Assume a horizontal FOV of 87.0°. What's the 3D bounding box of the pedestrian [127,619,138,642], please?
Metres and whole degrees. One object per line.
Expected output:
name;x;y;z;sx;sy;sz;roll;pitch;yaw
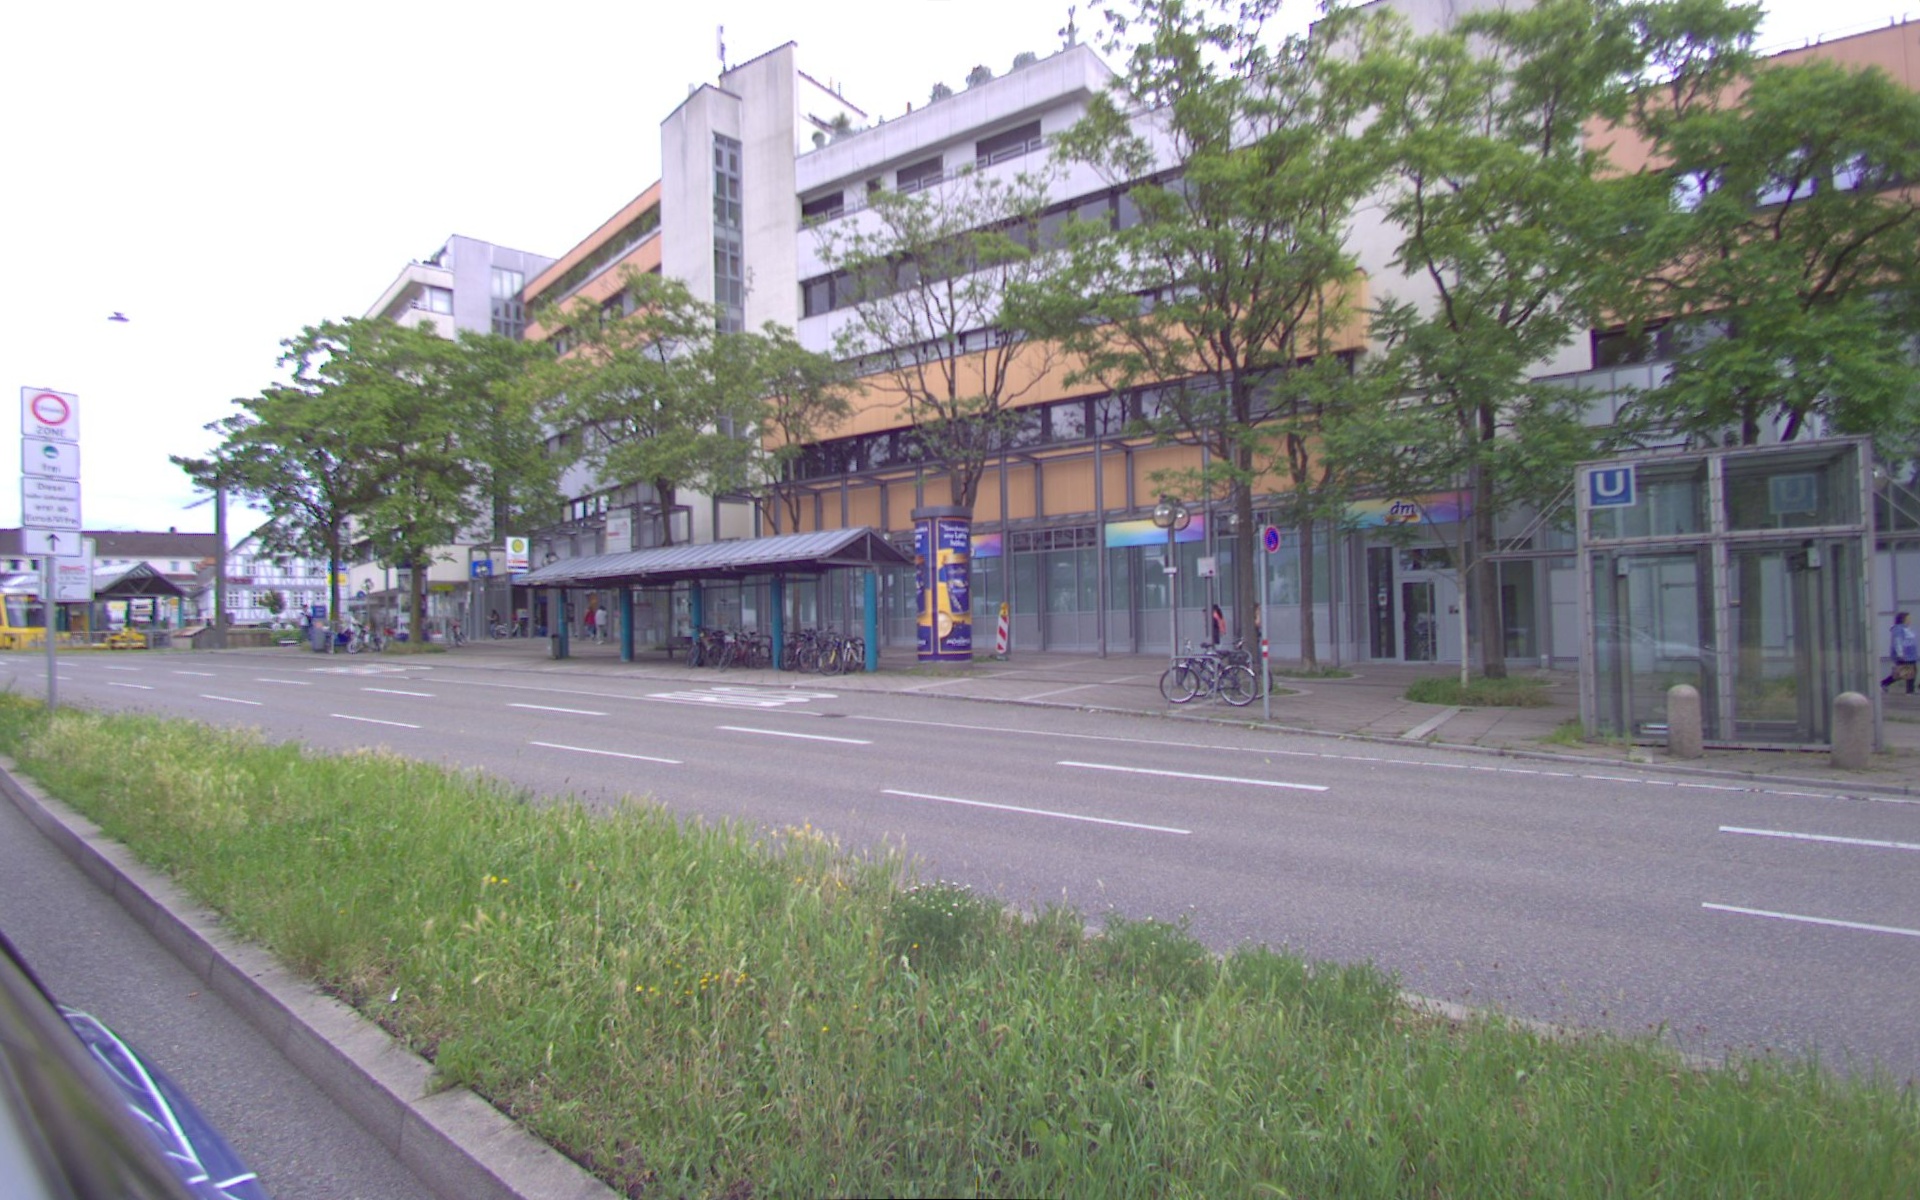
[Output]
pedestrian;-70.793;2.605;86.563;0.731;2.029;0.940;1;-2;-39

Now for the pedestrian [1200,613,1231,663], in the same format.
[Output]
pedestrian;7.163;1.057;28.374;0.694;1.385;0.578;-1;-2;34

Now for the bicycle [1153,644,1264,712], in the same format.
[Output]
bicycle;4.313;1.322;17.647;0.802;1.068;1.739;0;-1;-40

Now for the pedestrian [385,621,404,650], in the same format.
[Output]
pedestrian;-33.613;2.124;60.180;0.752;1.695;0.755;-1;-2;41

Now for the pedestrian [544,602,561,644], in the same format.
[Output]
pedestrian;-19.793;1.107;49.149;0.558;2.029;0.611;1;-2;-44

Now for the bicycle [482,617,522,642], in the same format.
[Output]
bicycle;-26.154;1.680;57.814;2.106;1.377;0.621;-1;0;-24

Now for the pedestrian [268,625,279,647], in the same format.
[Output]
pedestrian;-47.627;2.495;70.202;0.548;1.506;0.454;1;-2;-41

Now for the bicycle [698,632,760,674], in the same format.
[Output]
bicycle;-6.510;1.493;28.632;0.549;1.048;1.714;-2;1;38

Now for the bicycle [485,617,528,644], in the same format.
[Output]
bicycle;-25.005;1.672;55.836;2.107;1.385;0.621;-1;0;-31

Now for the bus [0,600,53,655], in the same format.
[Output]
bus;-56.039;1.600;58.662;8.470;3.006;2.530;-1;-2;29

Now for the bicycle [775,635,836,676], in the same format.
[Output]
bicycle;-4.193;1.499;27.609;0.549;1.048;1.714;-2;-1;38

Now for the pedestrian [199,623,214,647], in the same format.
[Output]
pedestrian;-50.154;2.310;67.364;0.581;1.554;0.570;-1;-2;32

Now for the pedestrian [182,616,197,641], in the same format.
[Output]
pedestrian;-62.429;2.278;82.017;0.867;2.029;1.011;1;-2;-44

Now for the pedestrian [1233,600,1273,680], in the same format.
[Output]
pedestrian;6.738;0.911;23.275;0.769;1.800;0.525;-1;-2;33

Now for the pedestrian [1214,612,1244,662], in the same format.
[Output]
pedestrian;7.688;1.050;28.934;0.694;1.385;0.578;-1;-2;34

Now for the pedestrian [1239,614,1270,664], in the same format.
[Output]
pedestrian;8.272;1.077;28.396;0.694;1.385;0.578;-1;-2;34

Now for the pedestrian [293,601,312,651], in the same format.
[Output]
pedestrian;-31.001;1.219;47.704;0.608;2.325;0.583;-1;-2;39

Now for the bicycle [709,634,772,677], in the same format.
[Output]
bicycle;-6.016;1.512;27.770;0.549;1.048;1.714;-2;1;38

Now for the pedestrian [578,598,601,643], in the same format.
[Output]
pedestrian;-17.137;0.940;46.814;0.794;2.029;0.701;-1;0;40

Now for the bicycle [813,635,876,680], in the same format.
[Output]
bicycle;-2.960;1.460;26.109;0.549;1.048;1.714;-2;0;38

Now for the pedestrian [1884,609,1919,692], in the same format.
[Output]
pedestrian;17.648;0.927;18.771;0.620;1.515;0.563;-1;-2;31

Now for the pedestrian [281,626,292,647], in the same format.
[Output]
pedestrian;-47.052;2.550;70.696;0.548;1.506;0.454;1;-2;-41

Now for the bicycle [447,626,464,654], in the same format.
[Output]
bicycle;-21.408;1.666;42.977;0.584;1.134;2.044;1;-1;-26

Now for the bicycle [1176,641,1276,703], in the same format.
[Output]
bicycle;4.929;1.311;18.839;1.737;1.074;0.542;-2;-1;45

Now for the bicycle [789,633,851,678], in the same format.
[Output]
bicycle;-3.669;1.443;26.641;0.549;1.048;1.714;-2;0;38

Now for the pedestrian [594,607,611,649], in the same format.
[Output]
pedestrian;-15.529;1.206;43.954;0.639;1.823;0.761;0;-2;-16

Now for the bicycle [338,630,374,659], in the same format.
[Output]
bicycle;-23.670;1.724;39.699;0.585;1.085;2.042;0;-1;-12

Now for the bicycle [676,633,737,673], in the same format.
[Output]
bicycle;-7.289;1.515;29.197;0.549;1.048;1.714;-2;0;38

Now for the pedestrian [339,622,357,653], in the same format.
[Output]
pedestrian;-37.664;2.307;62.278;0.752;1.859;0.755;-1;-2;41

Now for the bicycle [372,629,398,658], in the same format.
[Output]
bicycle;-22.803;1.712;40.157;0.584;1.085;2.044;1;-1;-21
